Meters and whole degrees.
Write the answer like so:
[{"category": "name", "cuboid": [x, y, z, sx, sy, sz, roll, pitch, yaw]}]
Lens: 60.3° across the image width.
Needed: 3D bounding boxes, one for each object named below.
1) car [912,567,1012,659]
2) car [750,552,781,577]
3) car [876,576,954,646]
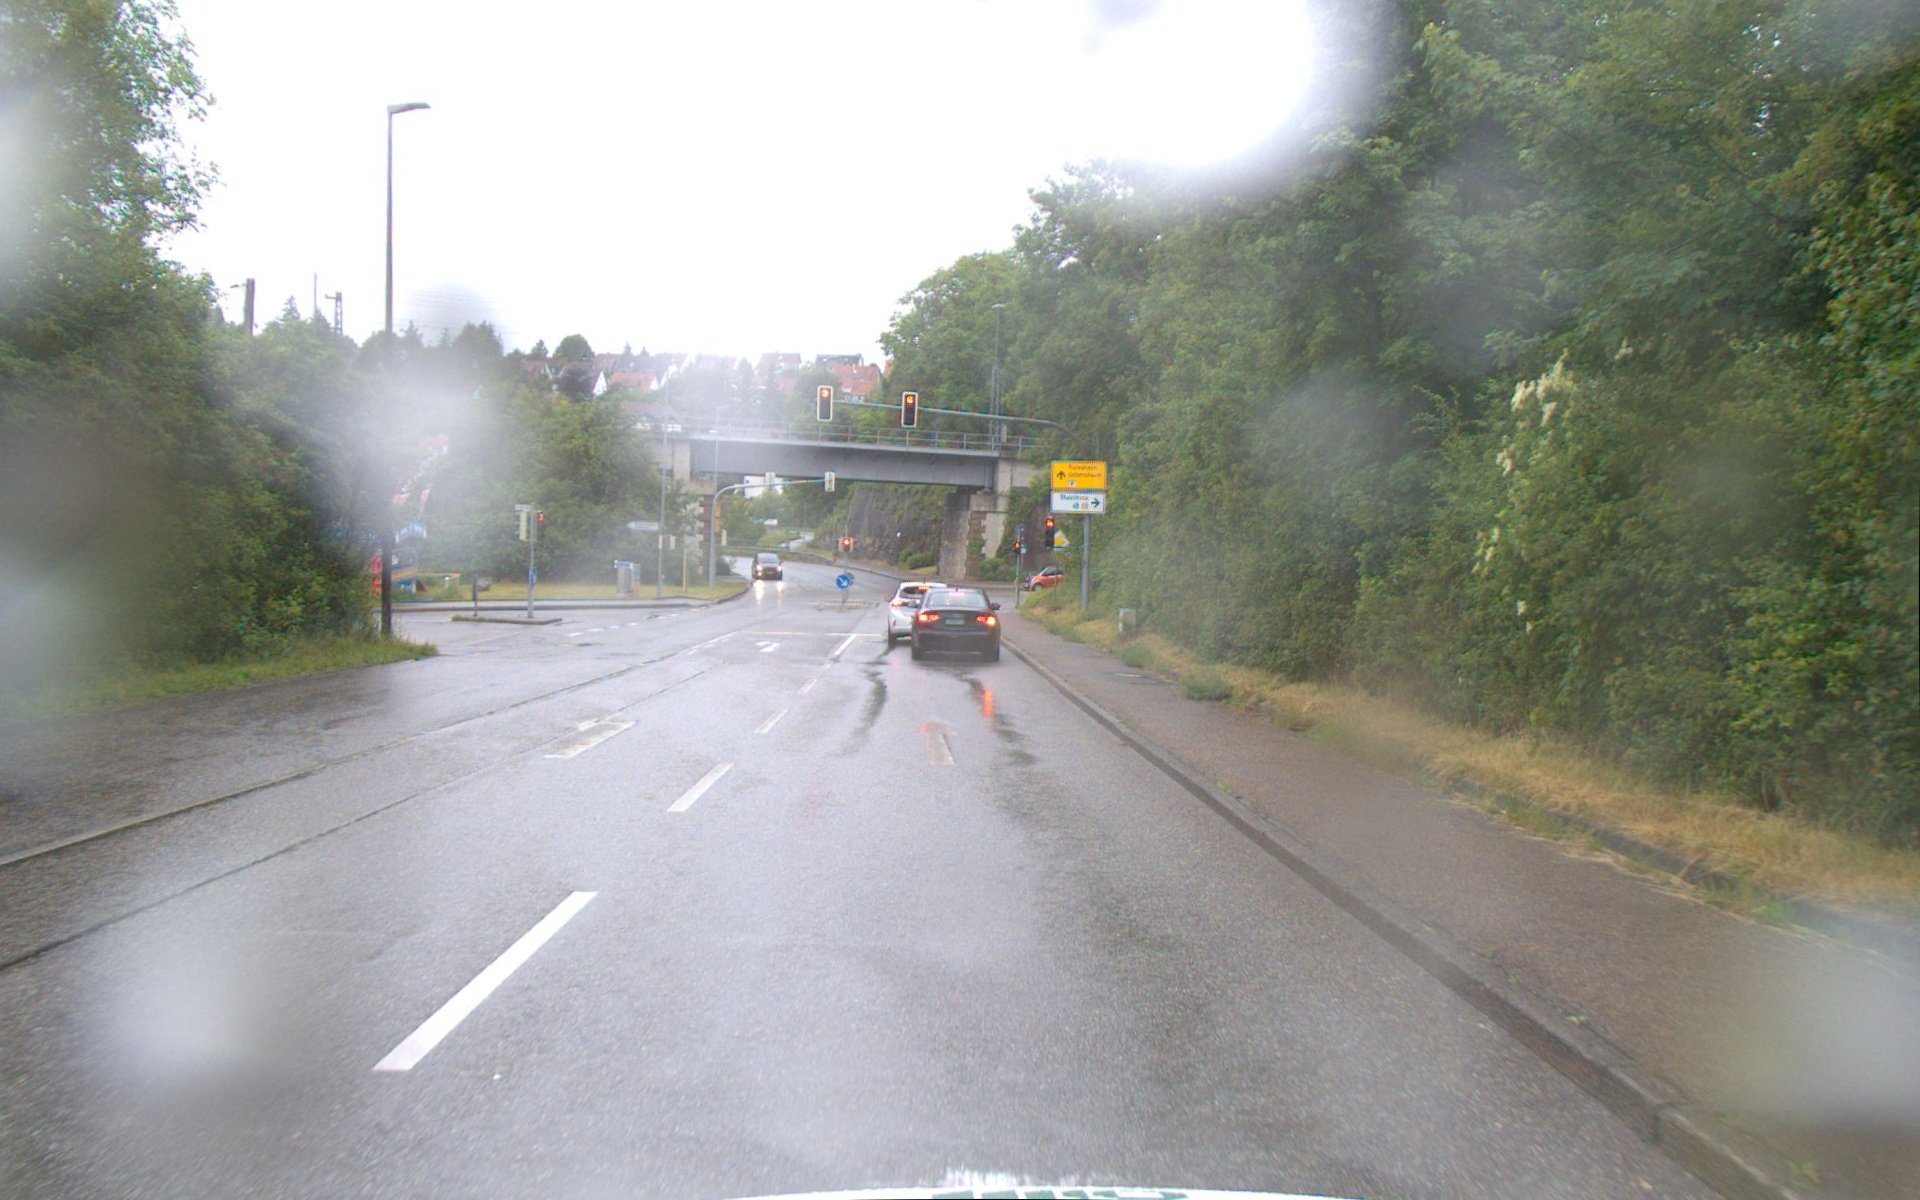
[{"category": "car", "cuboid": [0.006, 0.223, 33.334, 1.832, 1.644, 3.999, 3, 1, -1]}, {"category": "car", "cuboid": [-13.414, -2.424, 113.834, 1.957, 1.657, 3.991, 0, 0, -9]}, {"category": "car", "cuboid": [-1.091, 0.257, 40.276, 1.786, 1.613, 3.999, 1, 0, -1]}]
